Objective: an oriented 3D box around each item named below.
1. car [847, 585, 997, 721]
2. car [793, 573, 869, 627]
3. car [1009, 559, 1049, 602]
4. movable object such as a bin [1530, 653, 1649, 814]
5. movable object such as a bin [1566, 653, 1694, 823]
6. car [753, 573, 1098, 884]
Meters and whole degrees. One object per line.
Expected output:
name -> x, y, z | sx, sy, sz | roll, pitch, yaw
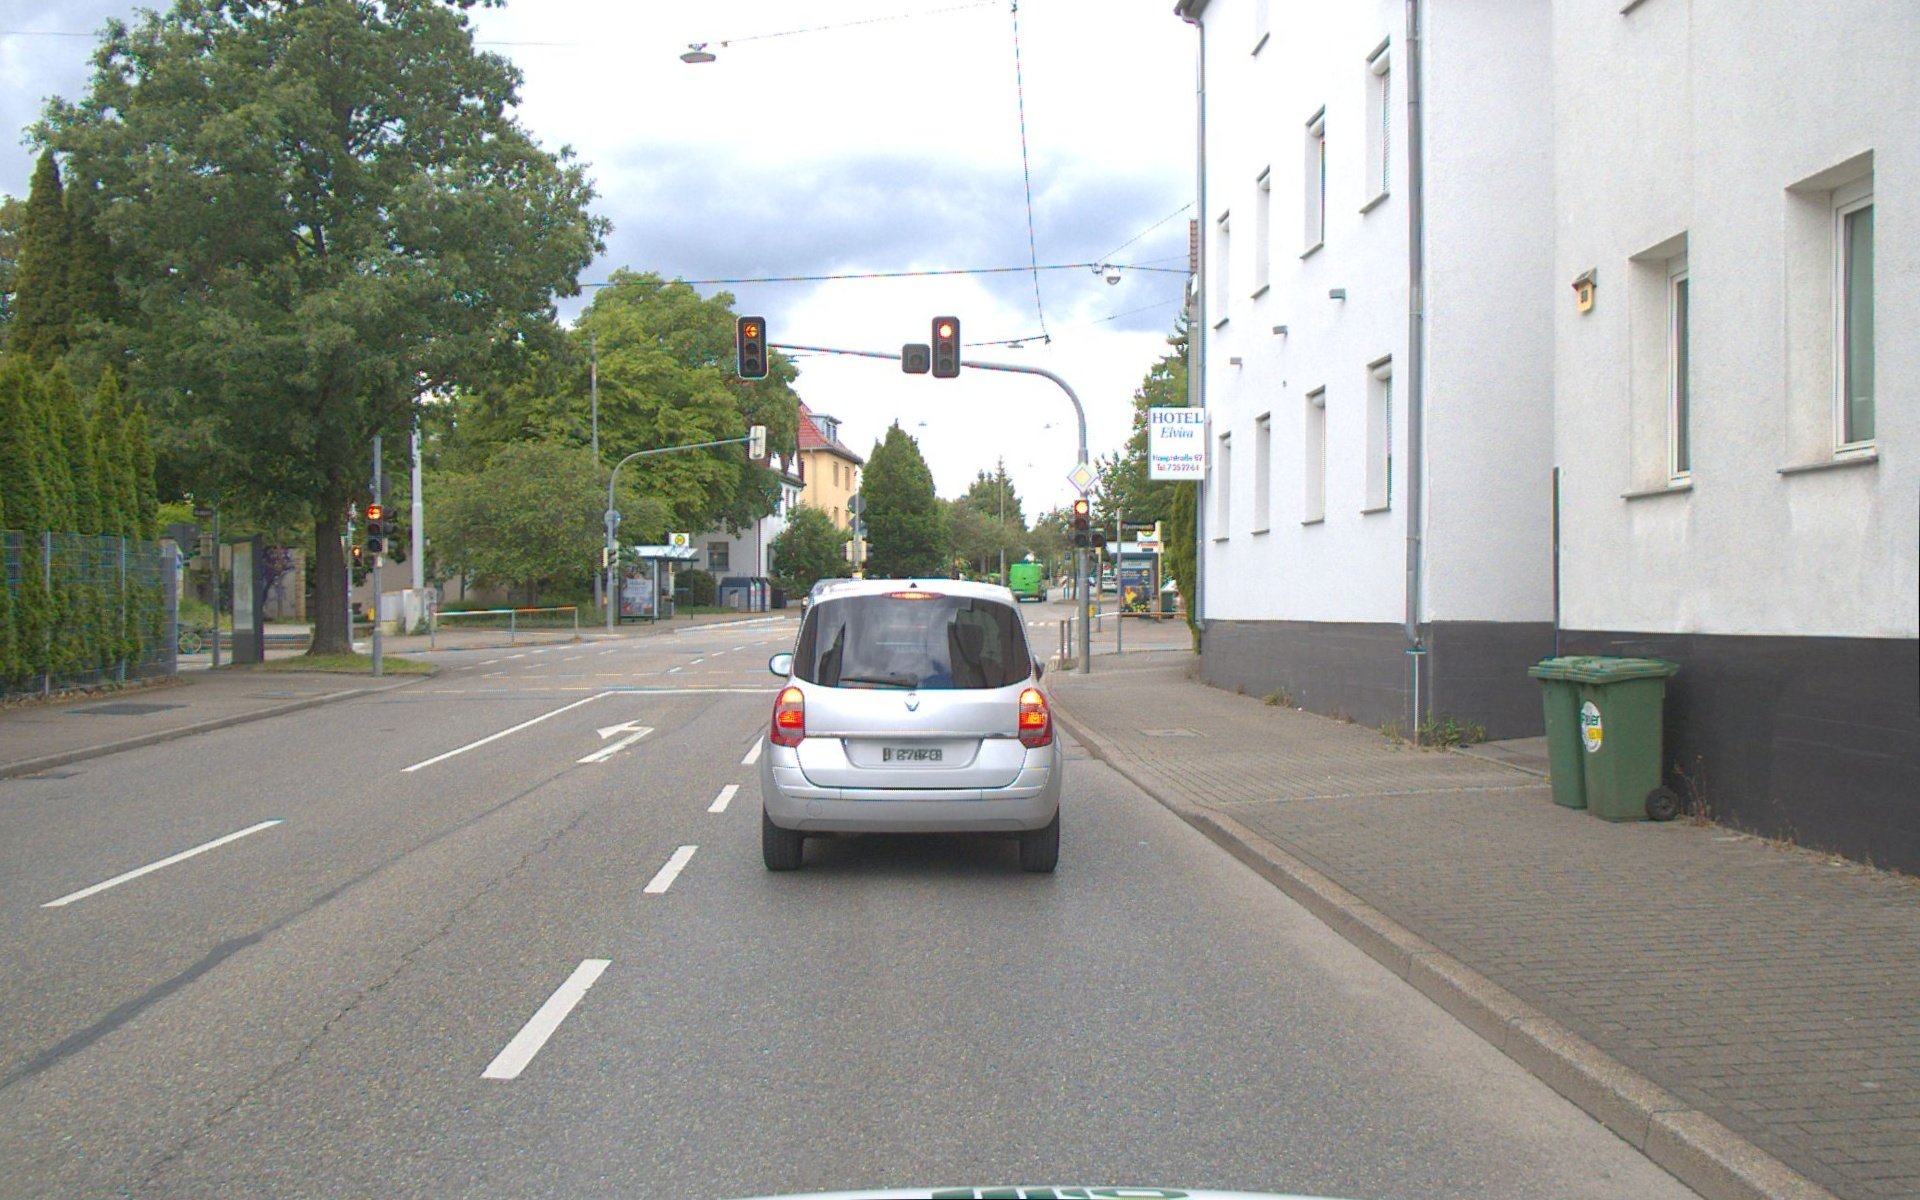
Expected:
car -> -0.517, 0.620, 21.097 | 1.720, 1.557, 3.795 | 1, 0, -2
car -> -4.761, -0.004, 61.533 | 1.885, 1.804, 4.003 | -4, 0, 8
car -> 4.310, -1.156, 102.558 | 2.015, 2.556, 5.599 | 1, 0, 7
movable object such as a bin -> 3.978, 0.831, 10.473 | 0.529, 0.957, 0.487 | -2, 0, -2
movable object such as a bin -> 4.019, 0.816, 9.938 | 0.529, 0.957, 0.487 | -2, 0, -2
car -> -0.247, 0.655, 10.365 | 1.720, 1.557, 3.998 | 1, 0, -2
